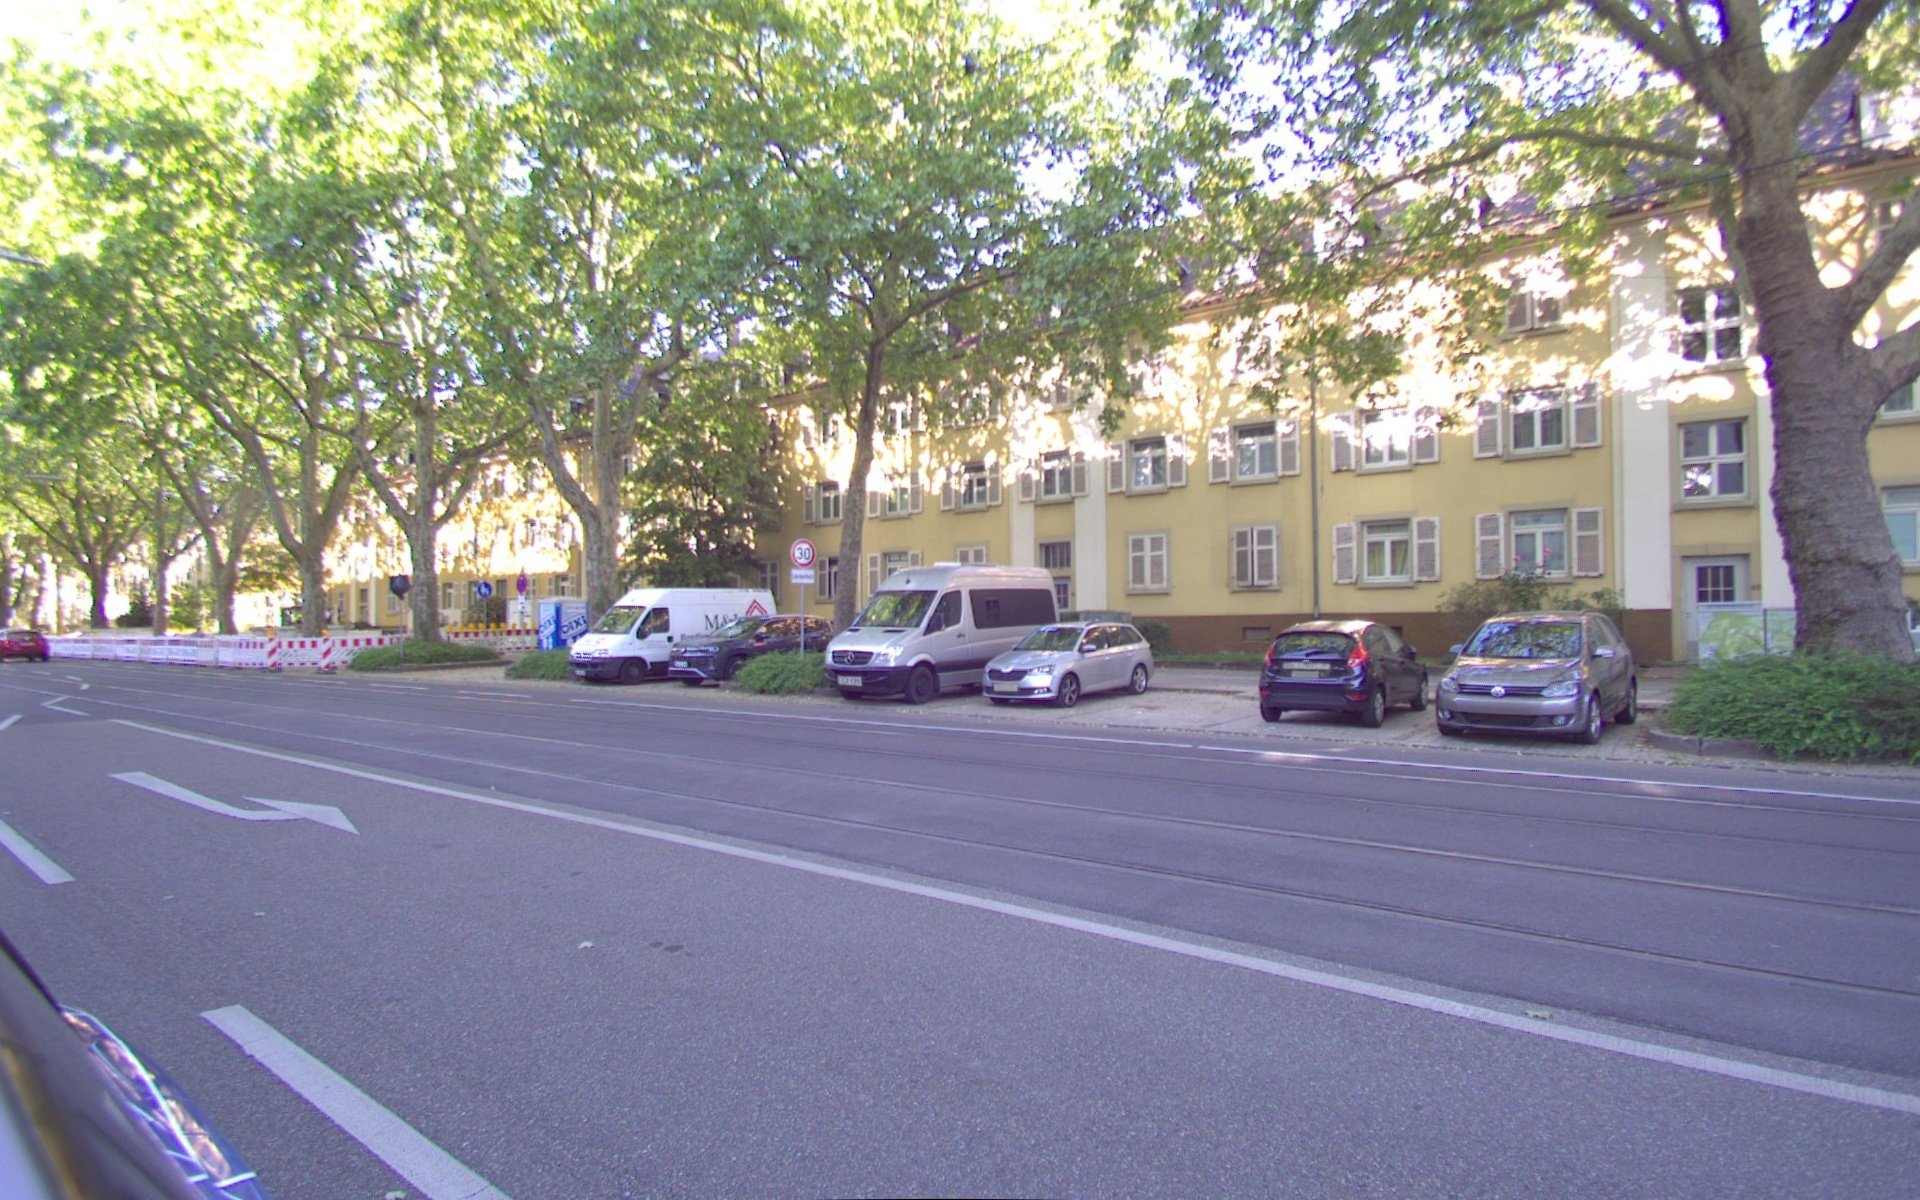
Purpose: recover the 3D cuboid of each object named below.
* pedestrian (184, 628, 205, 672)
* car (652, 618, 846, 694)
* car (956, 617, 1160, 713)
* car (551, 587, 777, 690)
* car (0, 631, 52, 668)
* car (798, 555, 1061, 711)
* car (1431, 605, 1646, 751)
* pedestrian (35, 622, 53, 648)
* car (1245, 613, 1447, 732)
[{"bbox_3d":[-31.924,2.073,42.209,0.641,1.759,0.585,-1,0,-29],"label":"pedestrian"},{"bbox_3d":[-4.980,1.279,24.447,1.772,1.664,4.570,-2,-2,38],"label":"car"},{"bbox_3d":[1.911,1.124,18.835,1.773,1.509,4.031,-2,-1,41],"label":"car"},{"bbox_3d":[-7.562,0.968,26.374,2.222,2.394,5.336,-2,-2,40],"label":"car"},{"bbox_3d":[-42.960,2.198,45.779,4.484,1.577,1.997,-2,-2,37],"label":"car"},{"bbox_3d":[-0.428,0.612,20.447,2.221,2.702,5.596,-2,-1,38],"label":"car"},{"bbox_3d":[7.742,0.901,13.367,1.672,1.592,3.928,-2,-1,41],"label":"car"},{"bbox_3d":[-65.952,2.518,72.862,0.725,1.900,0.663,-1,0,8],"label":"pedestrian"},{"bbox_3d":[5.965,1.004,15.418,1.671,1.509,3.756,-2,-1,41],"label":"car"}]
